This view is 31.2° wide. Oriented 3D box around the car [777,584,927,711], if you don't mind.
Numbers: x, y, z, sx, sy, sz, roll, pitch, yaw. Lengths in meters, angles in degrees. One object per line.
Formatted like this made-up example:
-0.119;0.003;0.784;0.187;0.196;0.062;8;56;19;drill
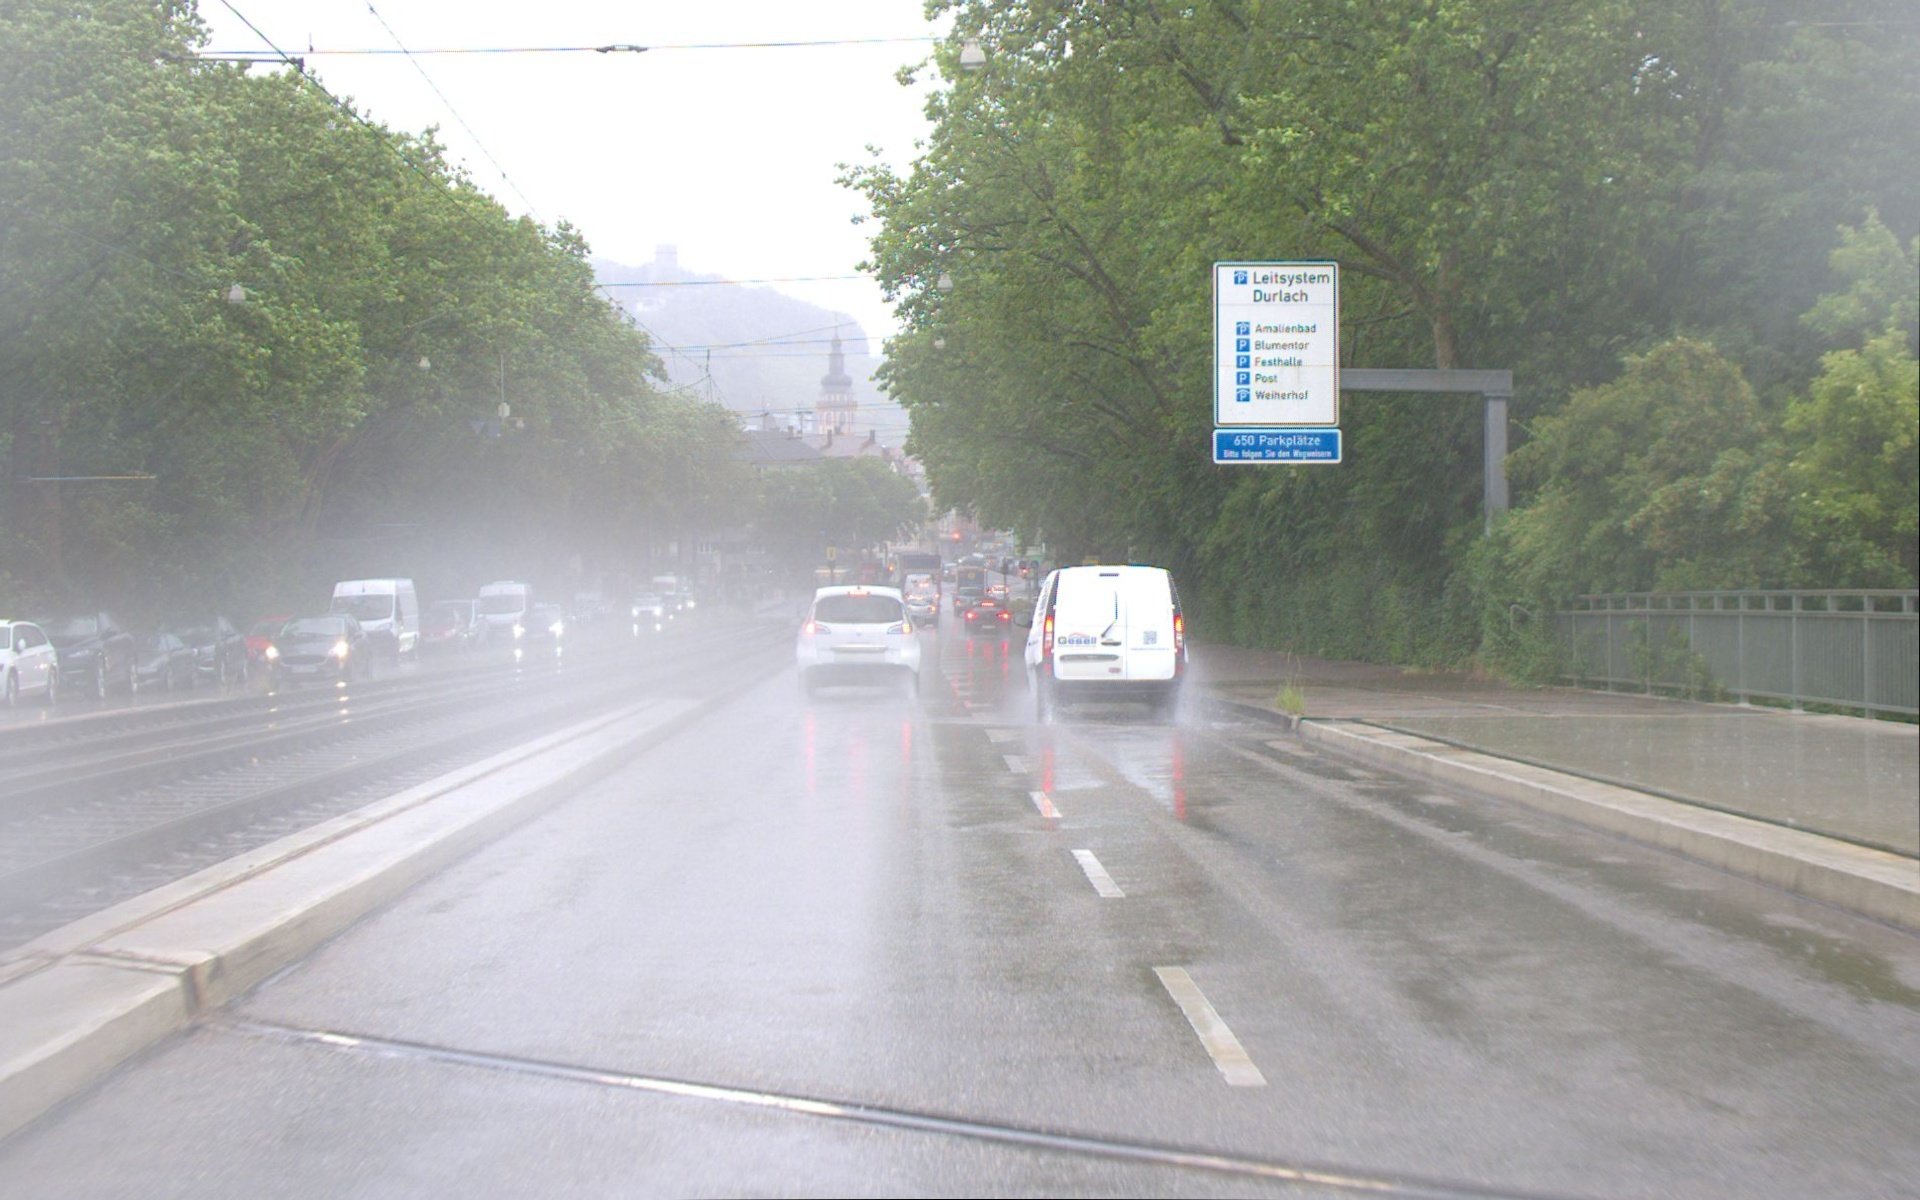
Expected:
-1.556;0.671;50.887;1.993;1.711;4.000;1;1;1;car

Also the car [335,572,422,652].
-17.164;0.329;101.726;1.741;2.162;5.815;-3;1;-2;car

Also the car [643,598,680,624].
-17.076;0.622;196.825;1.805;1.345;4.264;-3;1;-1;car

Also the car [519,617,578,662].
-14.743;1.396;123.386;1.506;1.396;4.707;-3;1;0;car

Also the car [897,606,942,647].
-1.907;1.253;163.470;1.993;1.820;4.000;1;1;1;car

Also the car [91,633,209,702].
-16.226;1.328;69.010;1.506;1.168;3.713;-3;1;-1;car

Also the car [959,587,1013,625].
0.987;0.232;130.299;1.993;1.316;4.000;1;1;1;car

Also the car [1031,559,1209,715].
1.872;0.403;41.348;1.993;1.720;4.000;1;1;1;car

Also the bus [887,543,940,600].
-3.212;-2.013;240.589;3.389;3.823;9.738;1;1;1;bus

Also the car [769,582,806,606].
-10.954;-0.370;218.498;1.805;1.345;4.263;-2;1;4;car

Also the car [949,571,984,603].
0.416;-0.795;204.652;1.993;1.820;4.000;1;1;1;car

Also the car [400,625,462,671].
-17.967;1.628;116.828;1.506;1.345;4.027;-3;1;-1;car

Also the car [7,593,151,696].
-16.127;0.775;63.151;1.505;1.666;4.834;-3;1;-2;car

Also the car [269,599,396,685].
-12.606;0.813;69.270;1.816;1.363;4.266;1;4;0;car

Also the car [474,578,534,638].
-18.215;0.294;137.405;1.800;2.214;4.277;-3;1;-1;car

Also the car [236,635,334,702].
-16.790;1.686;85.625;1.609;1.437;4.262;-3;1;-1;car

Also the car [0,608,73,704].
-15.972;0.962;56.597;1.506;1.396;4.894;-6;1;-2;car
